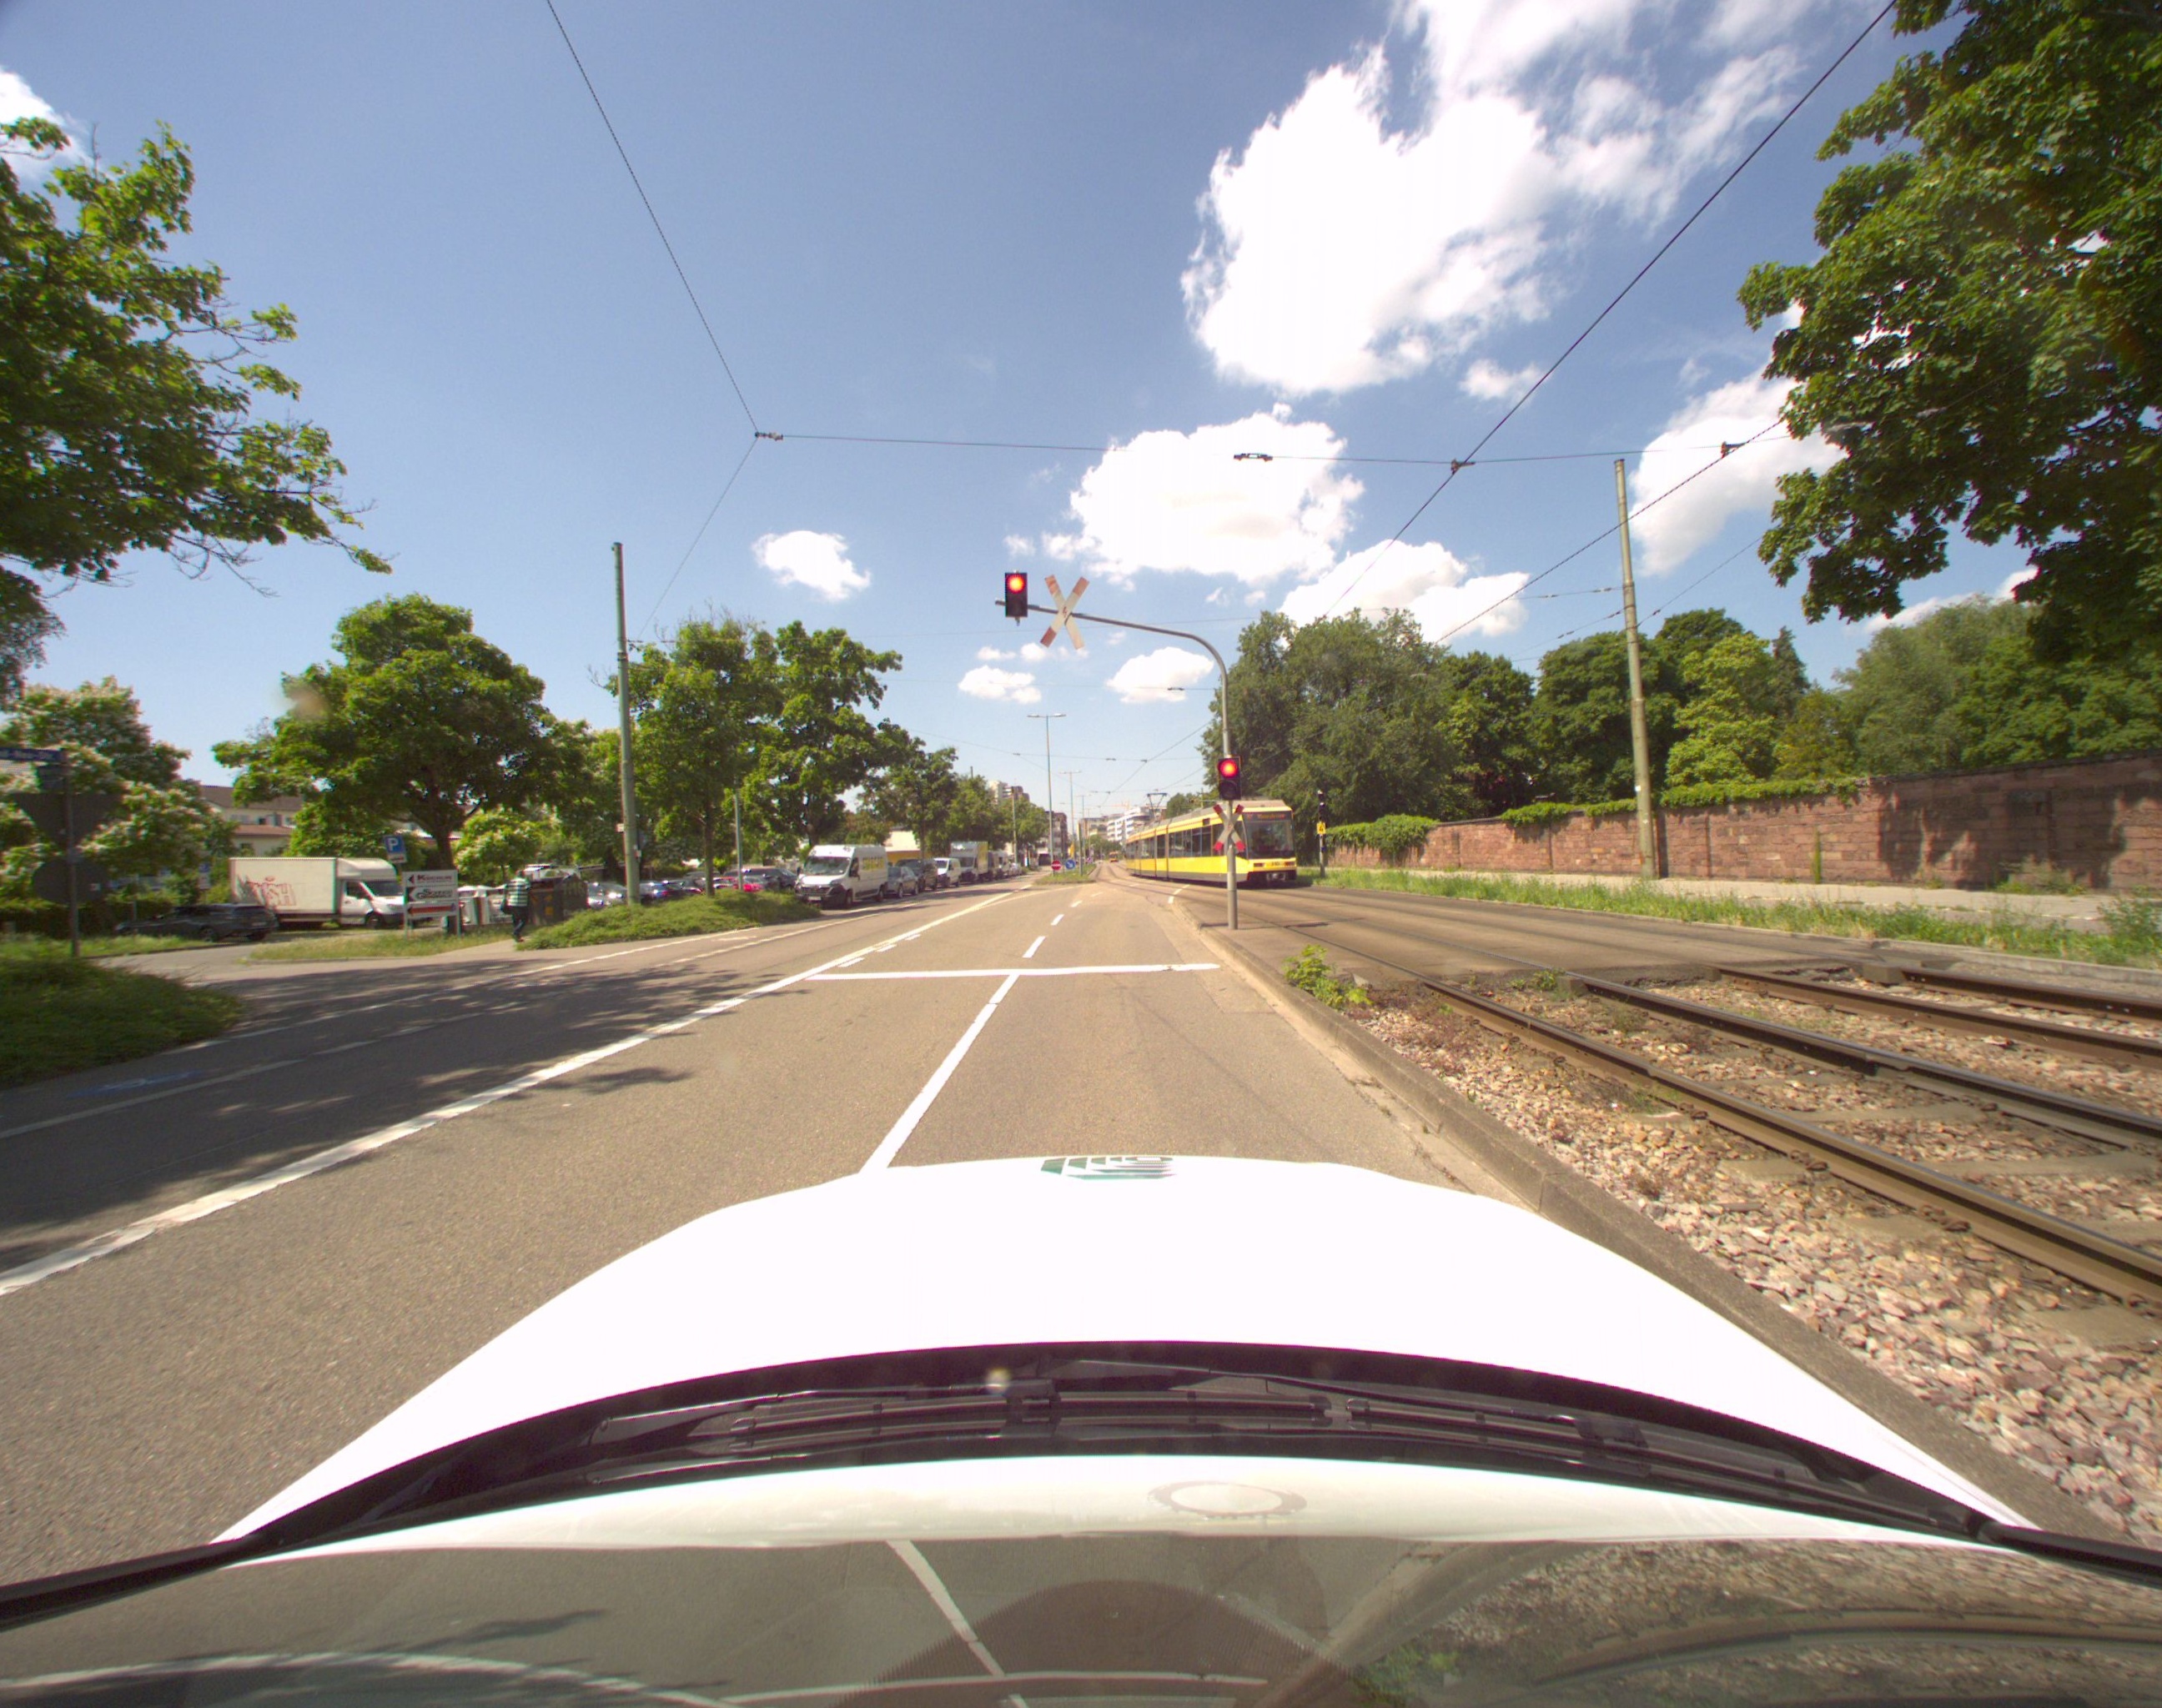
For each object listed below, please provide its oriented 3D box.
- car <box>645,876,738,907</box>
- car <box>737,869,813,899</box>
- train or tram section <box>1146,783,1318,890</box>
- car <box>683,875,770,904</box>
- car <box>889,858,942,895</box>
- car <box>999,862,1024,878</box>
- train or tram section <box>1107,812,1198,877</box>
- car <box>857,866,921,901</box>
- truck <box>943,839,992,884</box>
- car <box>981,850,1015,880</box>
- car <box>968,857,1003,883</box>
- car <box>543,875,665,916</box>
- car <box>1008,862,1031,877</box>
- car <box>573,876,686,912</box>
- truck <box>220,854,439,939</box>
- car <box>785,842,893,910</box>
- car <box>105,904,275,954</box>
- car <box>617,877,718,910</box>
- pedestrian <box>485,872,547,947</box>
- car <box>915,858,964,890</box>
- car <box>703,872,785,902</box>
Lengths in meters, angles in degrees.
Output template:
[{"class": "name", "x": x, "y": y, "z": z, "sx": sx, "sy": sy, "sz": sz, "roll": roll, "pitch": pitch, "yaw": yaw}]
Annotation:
[{"class": "car", "x": -20.390, "y": 1.939, "z": 42.744, "sx": 3.974, "sy": 1.339, "sz": 1.805, "roll": -3, "pitch": 0, "yaw": 0}, {"class": "car", "x": -18.988, "y": 1.877, "z": 50.685, "sx": 3.974, "sy": 1.606, "sz": 1.805, "roll": -3, "pitch": 0, "yaw": 0}, {"class": "train or tram section", "x": 6.070, "y": -0.603, "z": 37.825, "sx": 2.939, "sy": 3.692, "sz": 18.354, "roll": -2, "pitch": 0, "yaw": -5}, {"class": "car", "x": -19.653, "y": 1.955, "z": 45.300, "sx": 3.974, "sy": 1.339, "sz": 1.805, "roll": -3, "pitch": 0, "yaw": 0}, {"class": "car", "x": -9.308, "y": 1.222, "z": 46.160, "sx": 1.861, "sy": 1.895, "sz": 4.273, "roll": -3, "pitch": 0, "yaw": 2}, {"class": "car", "x": -7.647, "y": 1.773, "z": 90.254, "sx": 2.053, "sy": 1.582, "sz": 4.874, "roll": -3, "pitch": 0, "yaw": 2}, {"class": "train or tram section", "x": 4.424, "y": -0.536, "z": 56.948, "sx": 2.938, "sy": 3.692, "sz": 20.249, "roll": -2, "pitch": 0, "yaw": -5}, {"class": "car", "x": -9.235, "y": 1.386, "z": 39.517, "sx": 1.861, "sy": 1.437, "sz": 4.345, "roll": -3, "pitch": 0, "yaw": 2}, {"class": "truck", "x": -8.459, "y": 0.511, "z": 61.414, "sx": 2.147, "sy": 3.210, "sz": 7.090, "roll": 0, "pitch": 0, "yaw": 4}, {"class": "car", "x": -7.783, "y": 0.988, "z": 76.879, "sx": 2.147, "sy": 2.639, "sz": 5.617, "roll": 0, "pitch": 0, "yaw": 4}, {"class": "car", "x": -8.002, "y": 1.338, "z": 68.775, "sx": 2.053, "sy": 1.977, "sz": 4.874, "roll": -3, "pitch": 0, "yaw": 2}, {"class": "car", "x": -19.982, "y": 1.711, "z": 34.212, "sx": 3.974, "sy": 1.442, "sz": 1.805, "roll": -3, "pitch": 0, "yaw": 0}, {"class": "car", "x": -7.345, "y": 1.845, "z": 97.663, "sx": 2.053, "sy": 1.582, "sz": 4.874, "roll": -3, "pitch": 0, "yaw": 2}, {"class": "car", "x": -20.263, "y": 1.786, "z": 36.641, "sx": 3.974, "sy": 1.339, "sz": 1.805, "roll": -3, "pitch": 0, "yaw": 0}, {"class": "truck", "x": -32.627, "y": 1.783, "z": 35.547, "sx": 7.165, "sy": 3.228, "sz": 2.332, "roll": -3, "pitch": 0, "yaw": -1}, {"class": "car", "x": -9.713, "y": 0.811, "z": 33.307, "sx": 2.147, "sy": 2.487, "sz": 6.199, "roll": 0, "pitch": 0, "yaw": 4}, {"class": "car", "x": -31.620, "y": 2.647, "z": 28.990, "sx": 3.974, "sy": 1.399, "sz": 1.772, "roll": -3, "pitch": 0, "yaw": -1}, {"class": "car", "x": -20.285, "y": 1.915, "z": 40.104, "sx": 3.974, "sy": 1.339, "sz": 1.805, "roll": -3, "pitch": 0, "yaw": 0}, {"class": "pedestrian", "x": -14.593, "y": 1.416, "z": 21.062, "sx": 0.971, "sy": 1.823, "sz": 0.794, "roll": -3, "pitch": 0, "yaw": -2}, {"class": "car", "x": -9.103, "y": 1.245, "z": 52.769, "sx": 2.053, "sy": 1.898, "sz": 4.874, "roll": -3, "pitch": 0, "yaw": 2}, {"class": "car", "x": -19.761, "y": 1.926, "z": 47.823, "sx": 3.973, "sy": 1.442, "sz": 1.805, "roll": -3, "pitch": 0, "yaw": 0}]
